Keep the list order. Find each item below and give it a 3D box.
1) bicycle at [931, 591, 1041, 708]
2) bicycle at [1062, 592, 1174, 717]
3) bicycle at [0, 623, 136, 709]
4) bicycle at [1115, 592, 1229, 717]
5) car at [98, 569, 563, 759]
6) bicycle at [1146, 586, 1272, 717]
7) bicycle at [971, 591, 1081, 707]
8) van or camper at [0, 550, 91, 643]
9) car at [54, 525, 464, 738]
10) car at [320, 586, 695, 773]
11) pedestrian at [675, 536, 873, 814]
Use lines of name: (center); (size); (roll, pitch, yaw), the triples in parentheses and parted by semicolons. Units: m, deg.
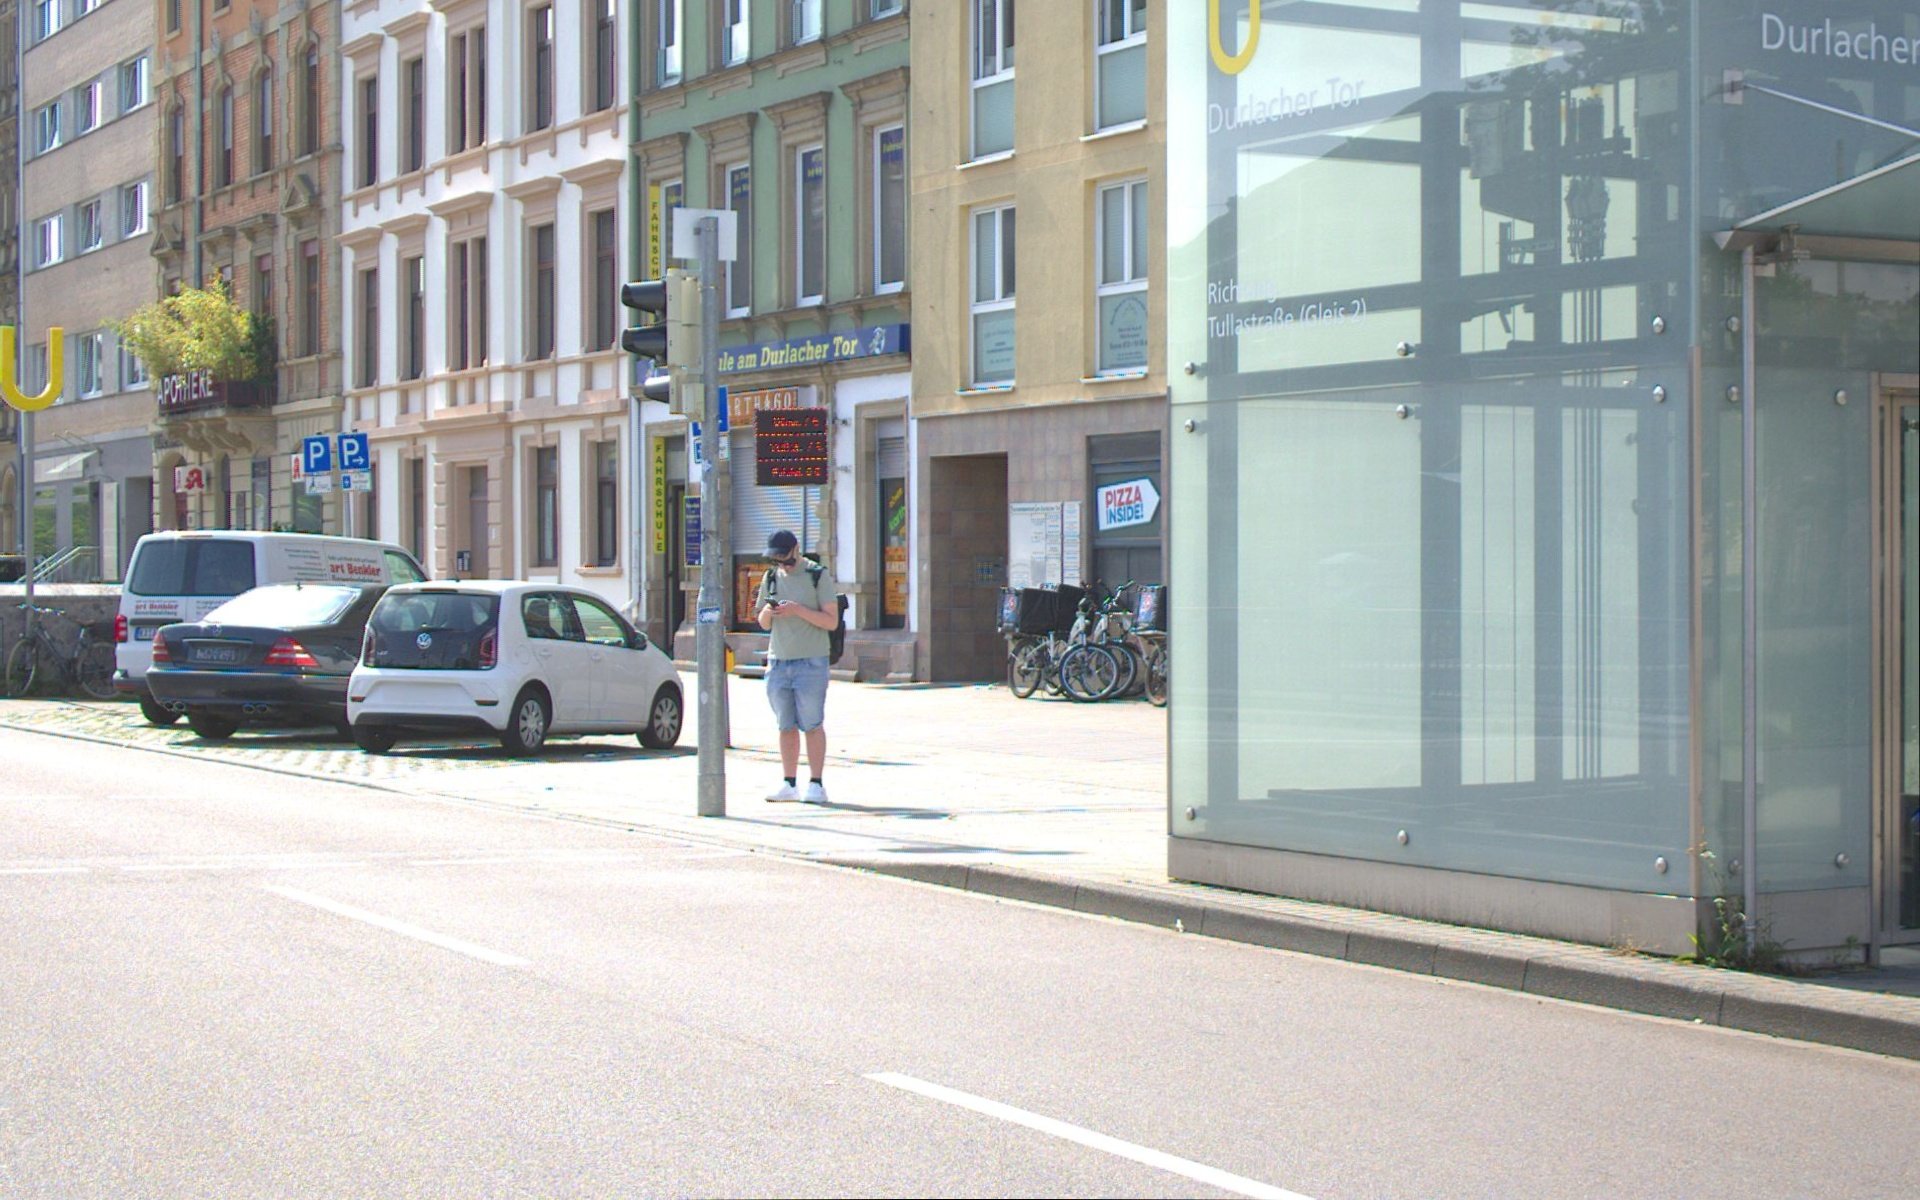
bicycle: (0.278, 0.534, 38.058); (0.486, 1.197, 1.646); (-2, 3, -27)
bicycle: (1.633, 0.553, 35.694); (0.486, 1.197, 1.646); (-2, 3, -23)
bicycle: (-10.897, 0.796, 41.465); (1.772, 1.000, 0.513); (1, 1, -33)
bicycle: (2.198, 0.548, 35.752); (0.486, 1.197, 1.646); (-2, 3, -23)
car: (-5.732, 0.523, 32.036); (1.887, 1.463, 5.059); (0, 2, 21)
bicycle: (2.448, 0.493, 33.954); (0.547, 1.197, 1.646); (-2, 3, -23)
bicycle: (0.728, 0.536, 38.326); (0.486, 1.197, 1.646); (-2, 3, -27)
van or camper: (-22.237, -0.121, 81.339); (1.993, 1.898, 5.299); (-5, 4, -27)
car: (-7.238, 0.263, 36.094); (2.075, 2.077, 4.895); (0, 1, 18)
car: (-3.856, 0.639, 29.820); (1.716, 1.435, 3.508); (1, 1, 22)
pedestrian: (-1.202, 0.482, 22.290); (0.785, 1.754, 0.993); (-2, -1, 39)
